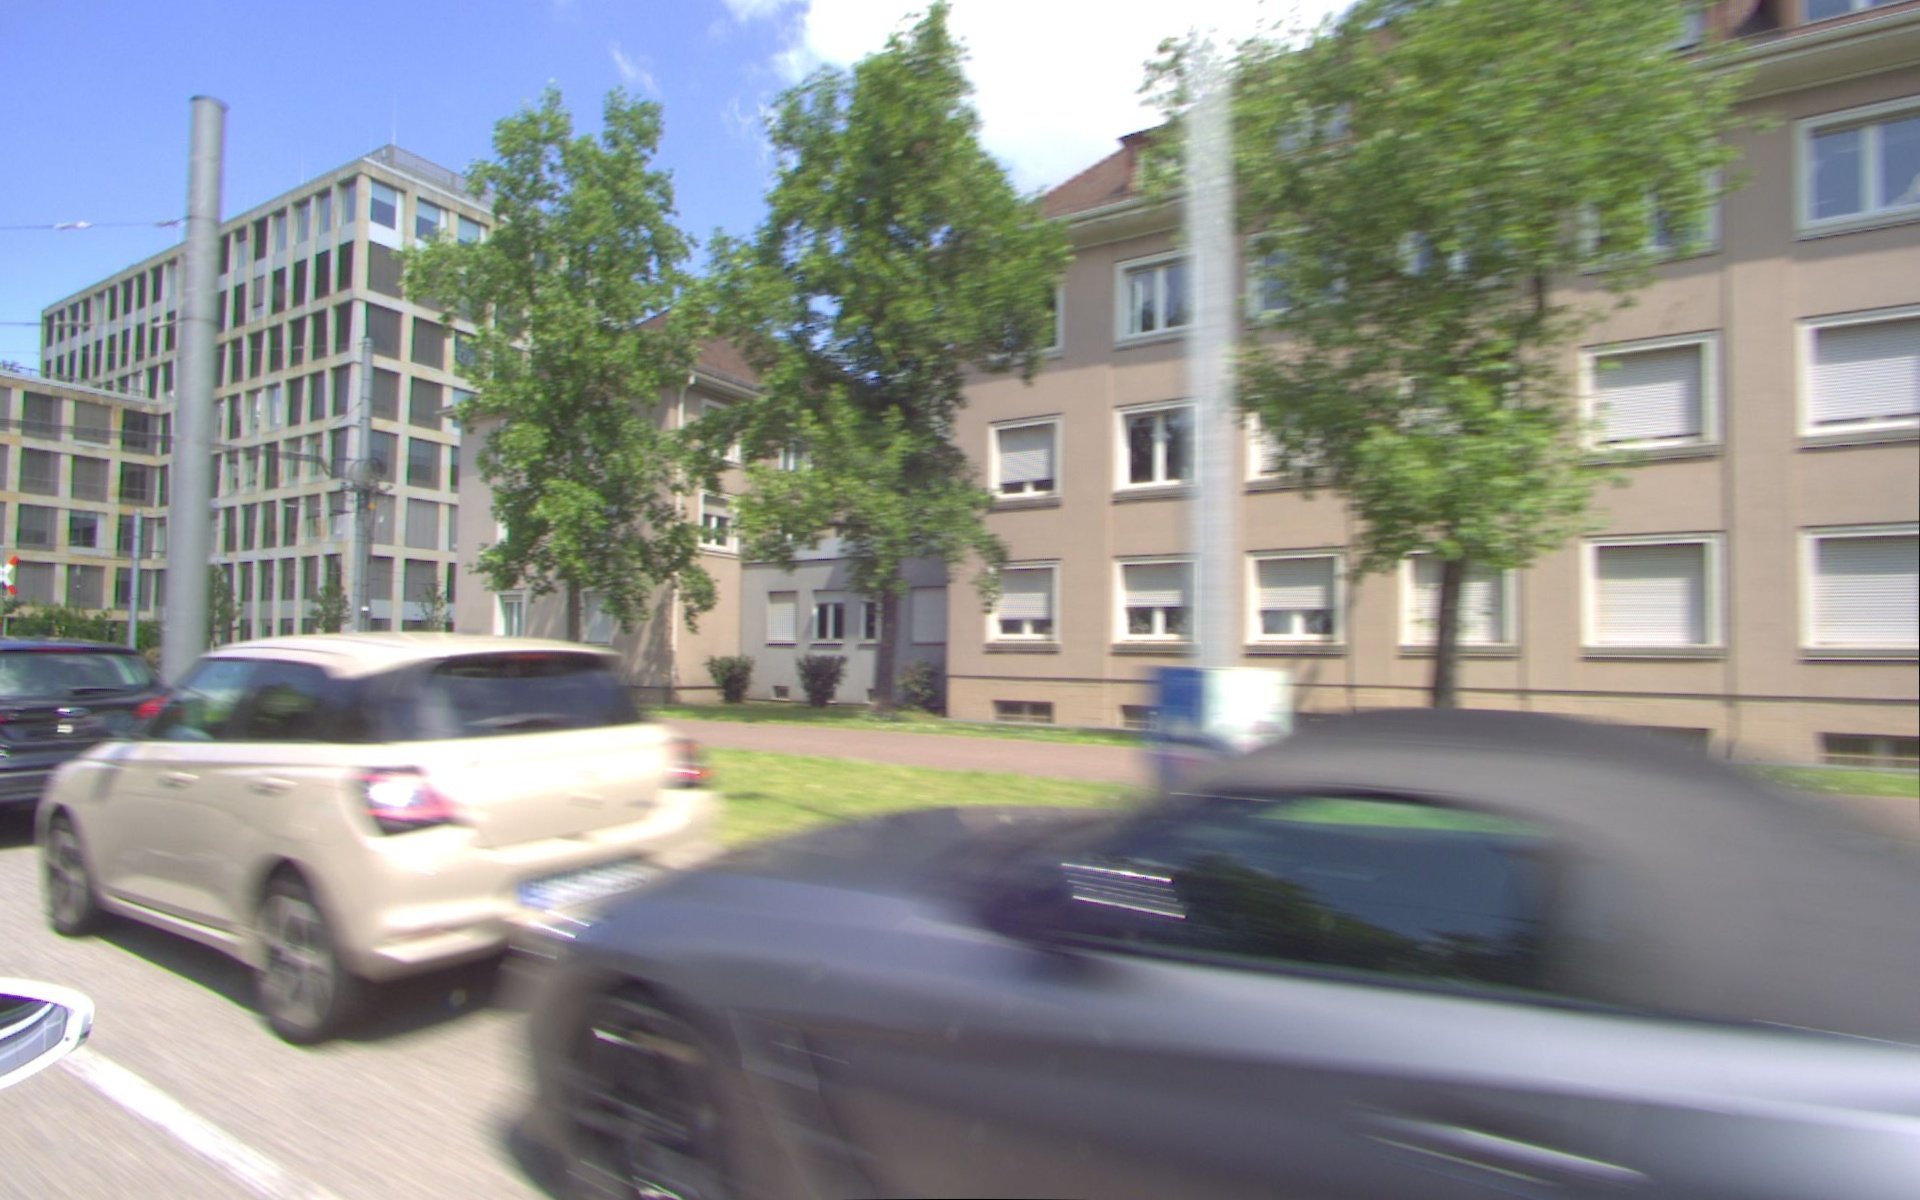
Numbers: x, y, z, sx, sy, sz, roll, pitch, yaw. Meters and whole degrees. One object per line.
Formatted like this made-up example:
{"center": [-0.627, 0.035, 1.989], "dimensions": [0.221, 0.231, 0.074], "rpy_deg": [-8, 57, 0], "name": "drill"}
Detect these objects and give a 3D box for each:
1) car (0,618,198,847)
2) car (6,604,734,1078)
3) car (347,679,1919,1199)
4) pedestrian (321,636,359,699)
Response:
{"center": [-8.149, 0.963, 8.229], "dimensions": [4.381, 1.549, 1.641], "rpy_deg": [-2, -3, 34], "name": "car"}
{"center": [-3.083, 0.866, 5.025], "dimensions": [3.798, 1.534, 1.666], "rpy_deg": [-2, -3, 34], "name": "car"}
{"center": [0.537, 0.919, 2.561], "dimensions": [4.379, 1.328, 1.822], "rpy_deg": [-2, -3, 32], "name": "car"}
{"center": [-16.267, 1.765, 26.264], "dimensions": [0.615, 1.628, 0.622], "rpy_deg": [-1, -2, 29], "name": "pedestrian"}
